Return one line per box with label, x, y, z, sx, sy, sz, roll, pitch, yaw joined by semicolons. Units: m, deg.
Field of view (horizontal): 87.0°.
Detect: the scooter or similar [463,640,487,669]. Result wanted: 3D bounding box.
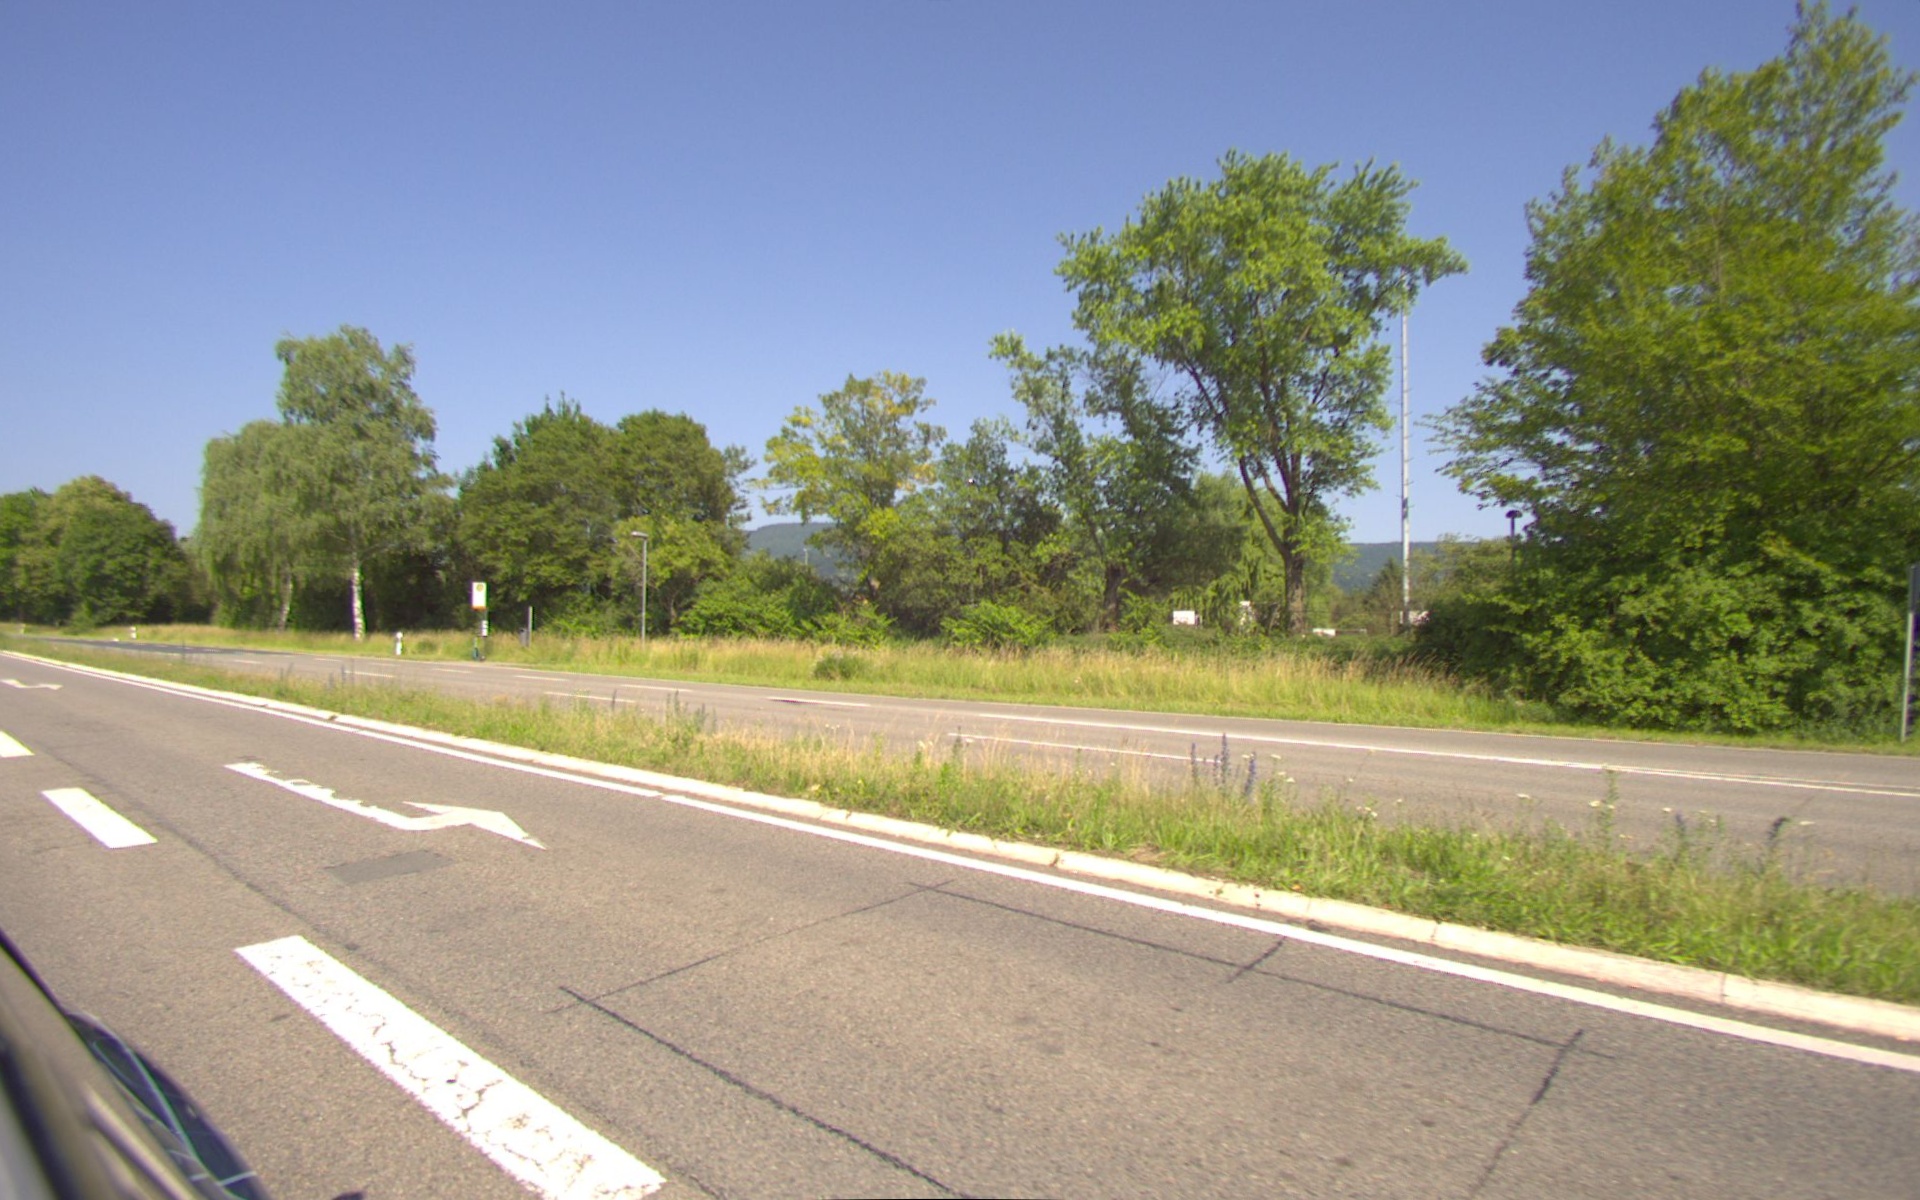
scooter or similar;-20.551;2.294;42.851;1.340;1.195;0.364;-1;-4;42
